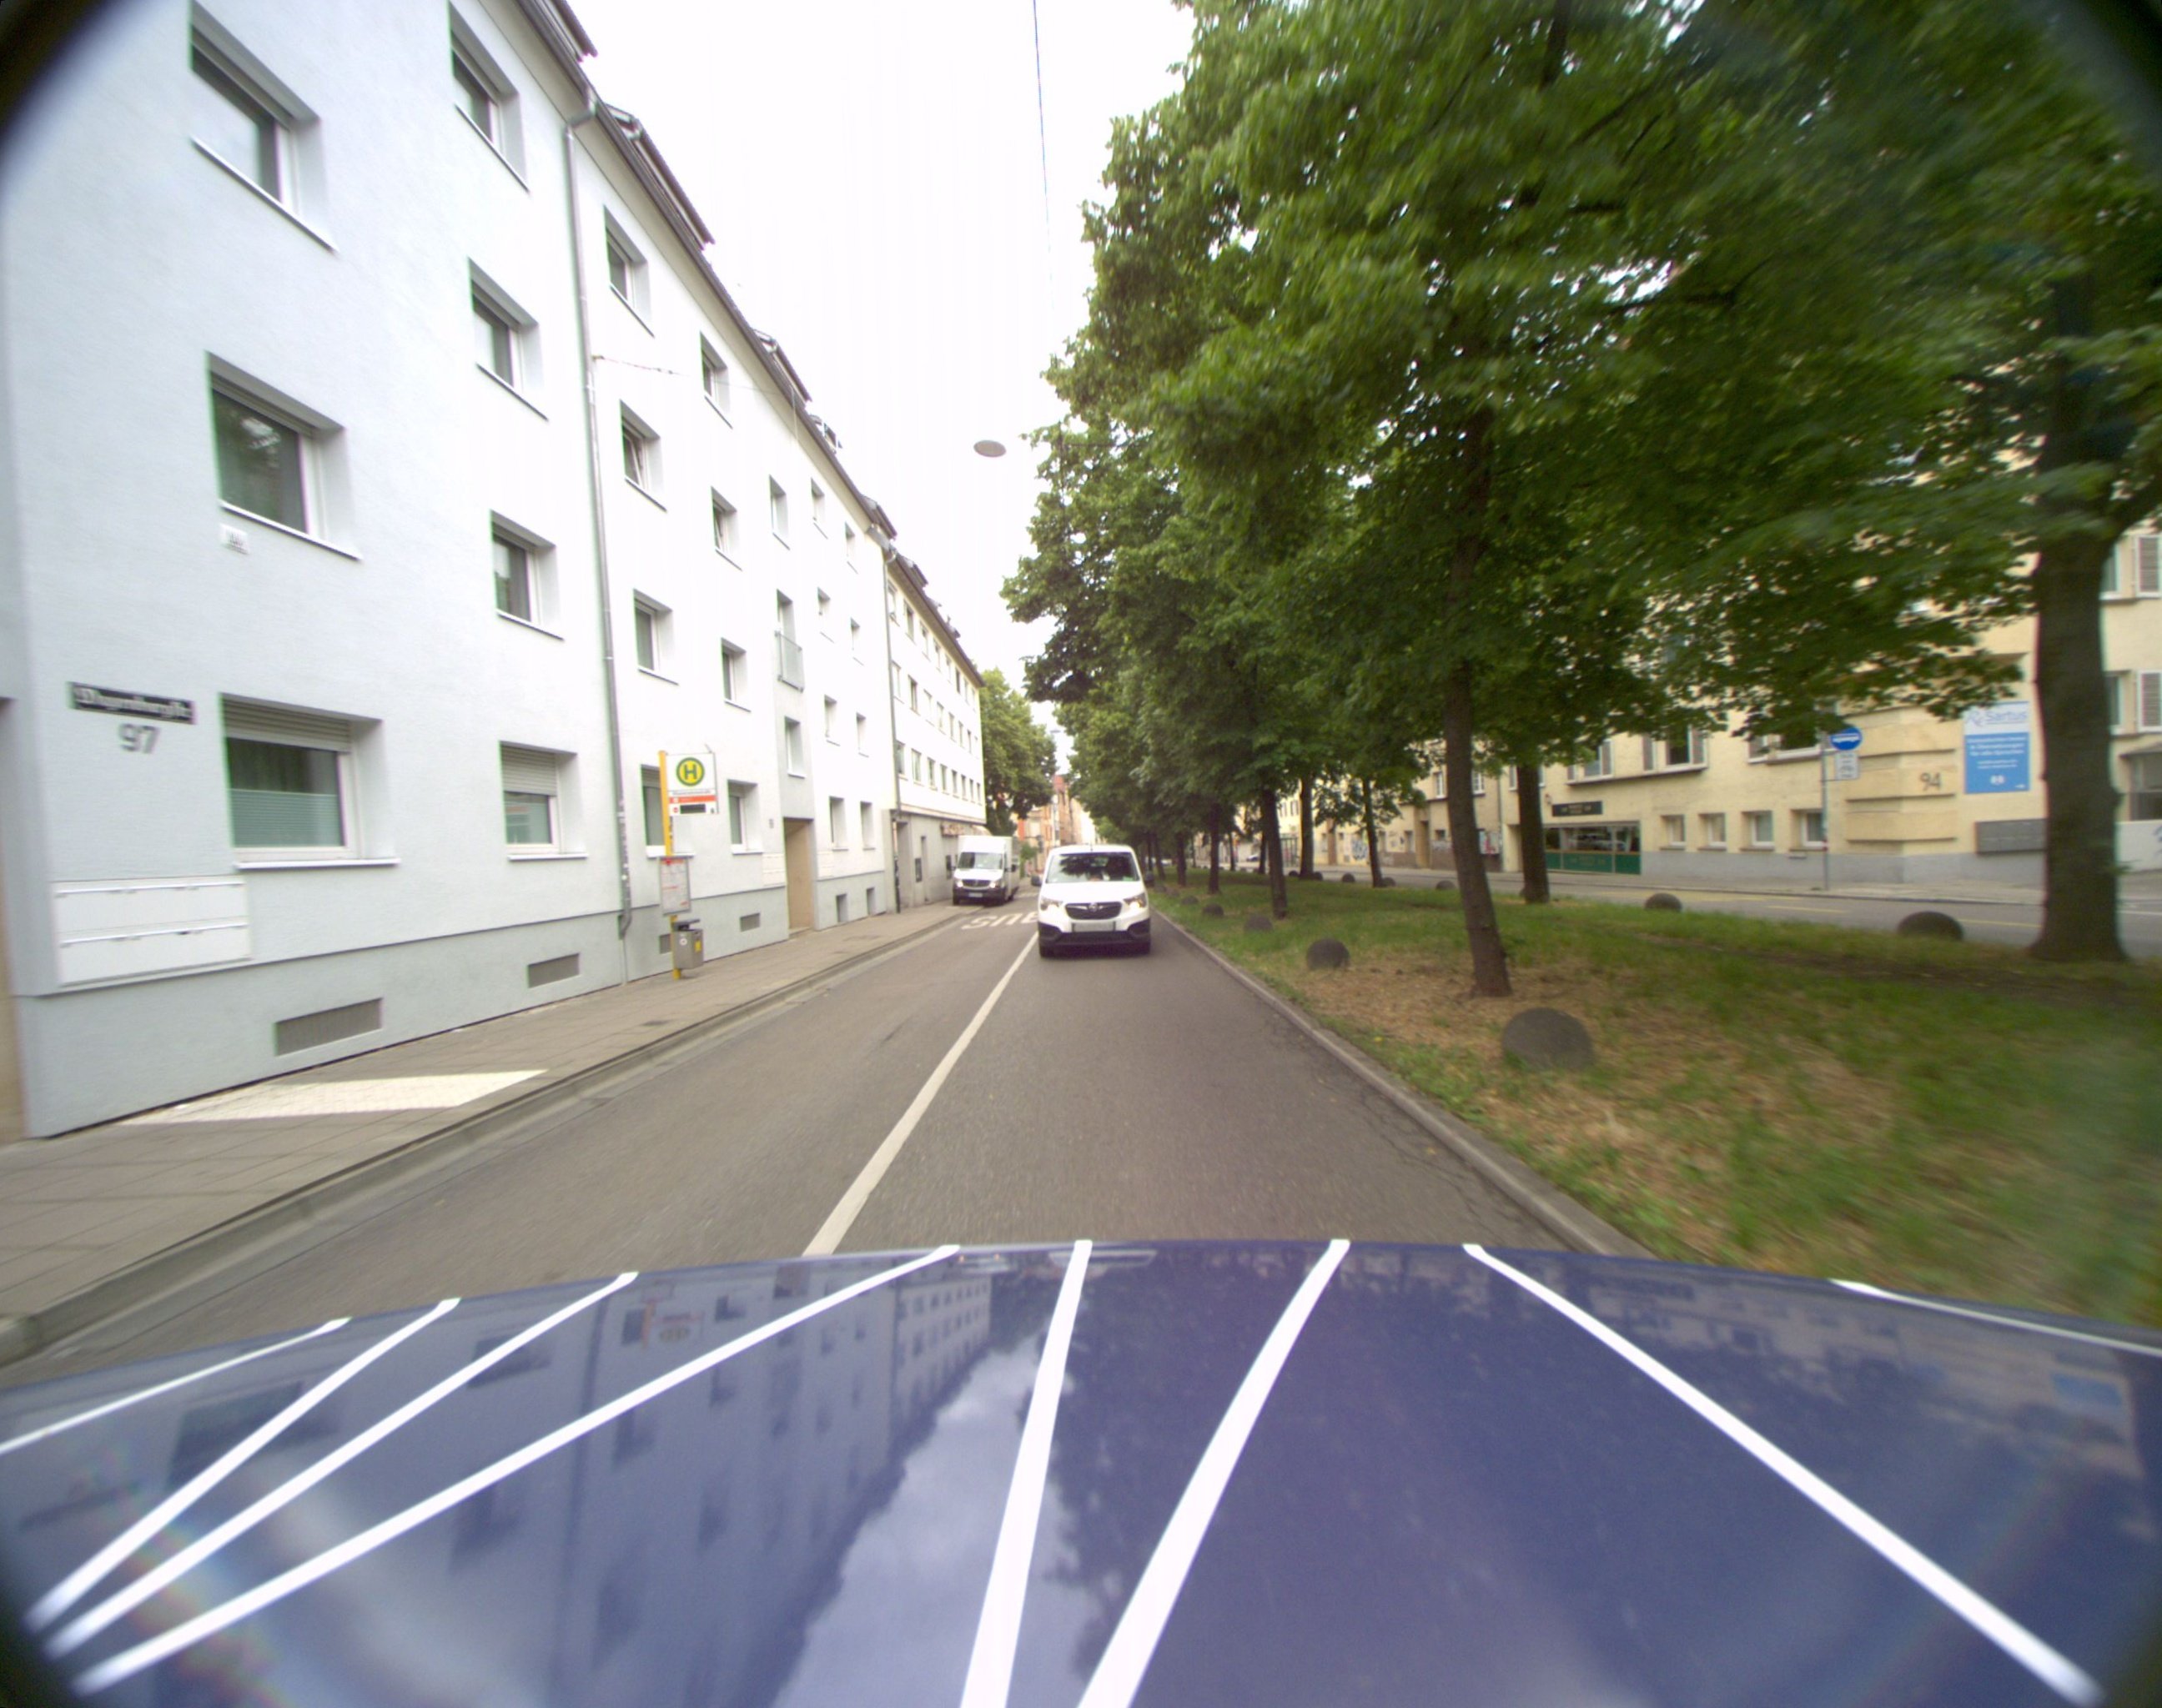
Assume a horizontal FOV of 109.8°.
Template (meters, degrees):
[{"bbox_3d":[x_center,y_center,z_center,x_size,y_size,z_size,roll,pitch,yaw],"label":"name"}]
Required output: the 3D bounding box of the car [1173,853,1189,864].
[{"bbox_3d":[15.457,0.654,117.482,1.953,1.619,4.365,-3,0,0],"label":"car"}]

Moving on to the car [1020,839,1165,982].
[{"bbox_3d":[0.387,0.757,12.398,1.745,1.830,4.345,-4,0,8],"label":"car"}]

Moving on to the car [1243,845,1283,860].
[{"bbox_3d":[22.111,-0.177,92.409,4.298,1.411,2.048,-6,-1,4],"label":"car"}]

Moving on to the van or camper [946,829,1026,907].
[{"bbox_3d":[-3.830,0.524,32.180,2.486,2.786,7.237,-3,0,-1],"label":"van or camper"}]
